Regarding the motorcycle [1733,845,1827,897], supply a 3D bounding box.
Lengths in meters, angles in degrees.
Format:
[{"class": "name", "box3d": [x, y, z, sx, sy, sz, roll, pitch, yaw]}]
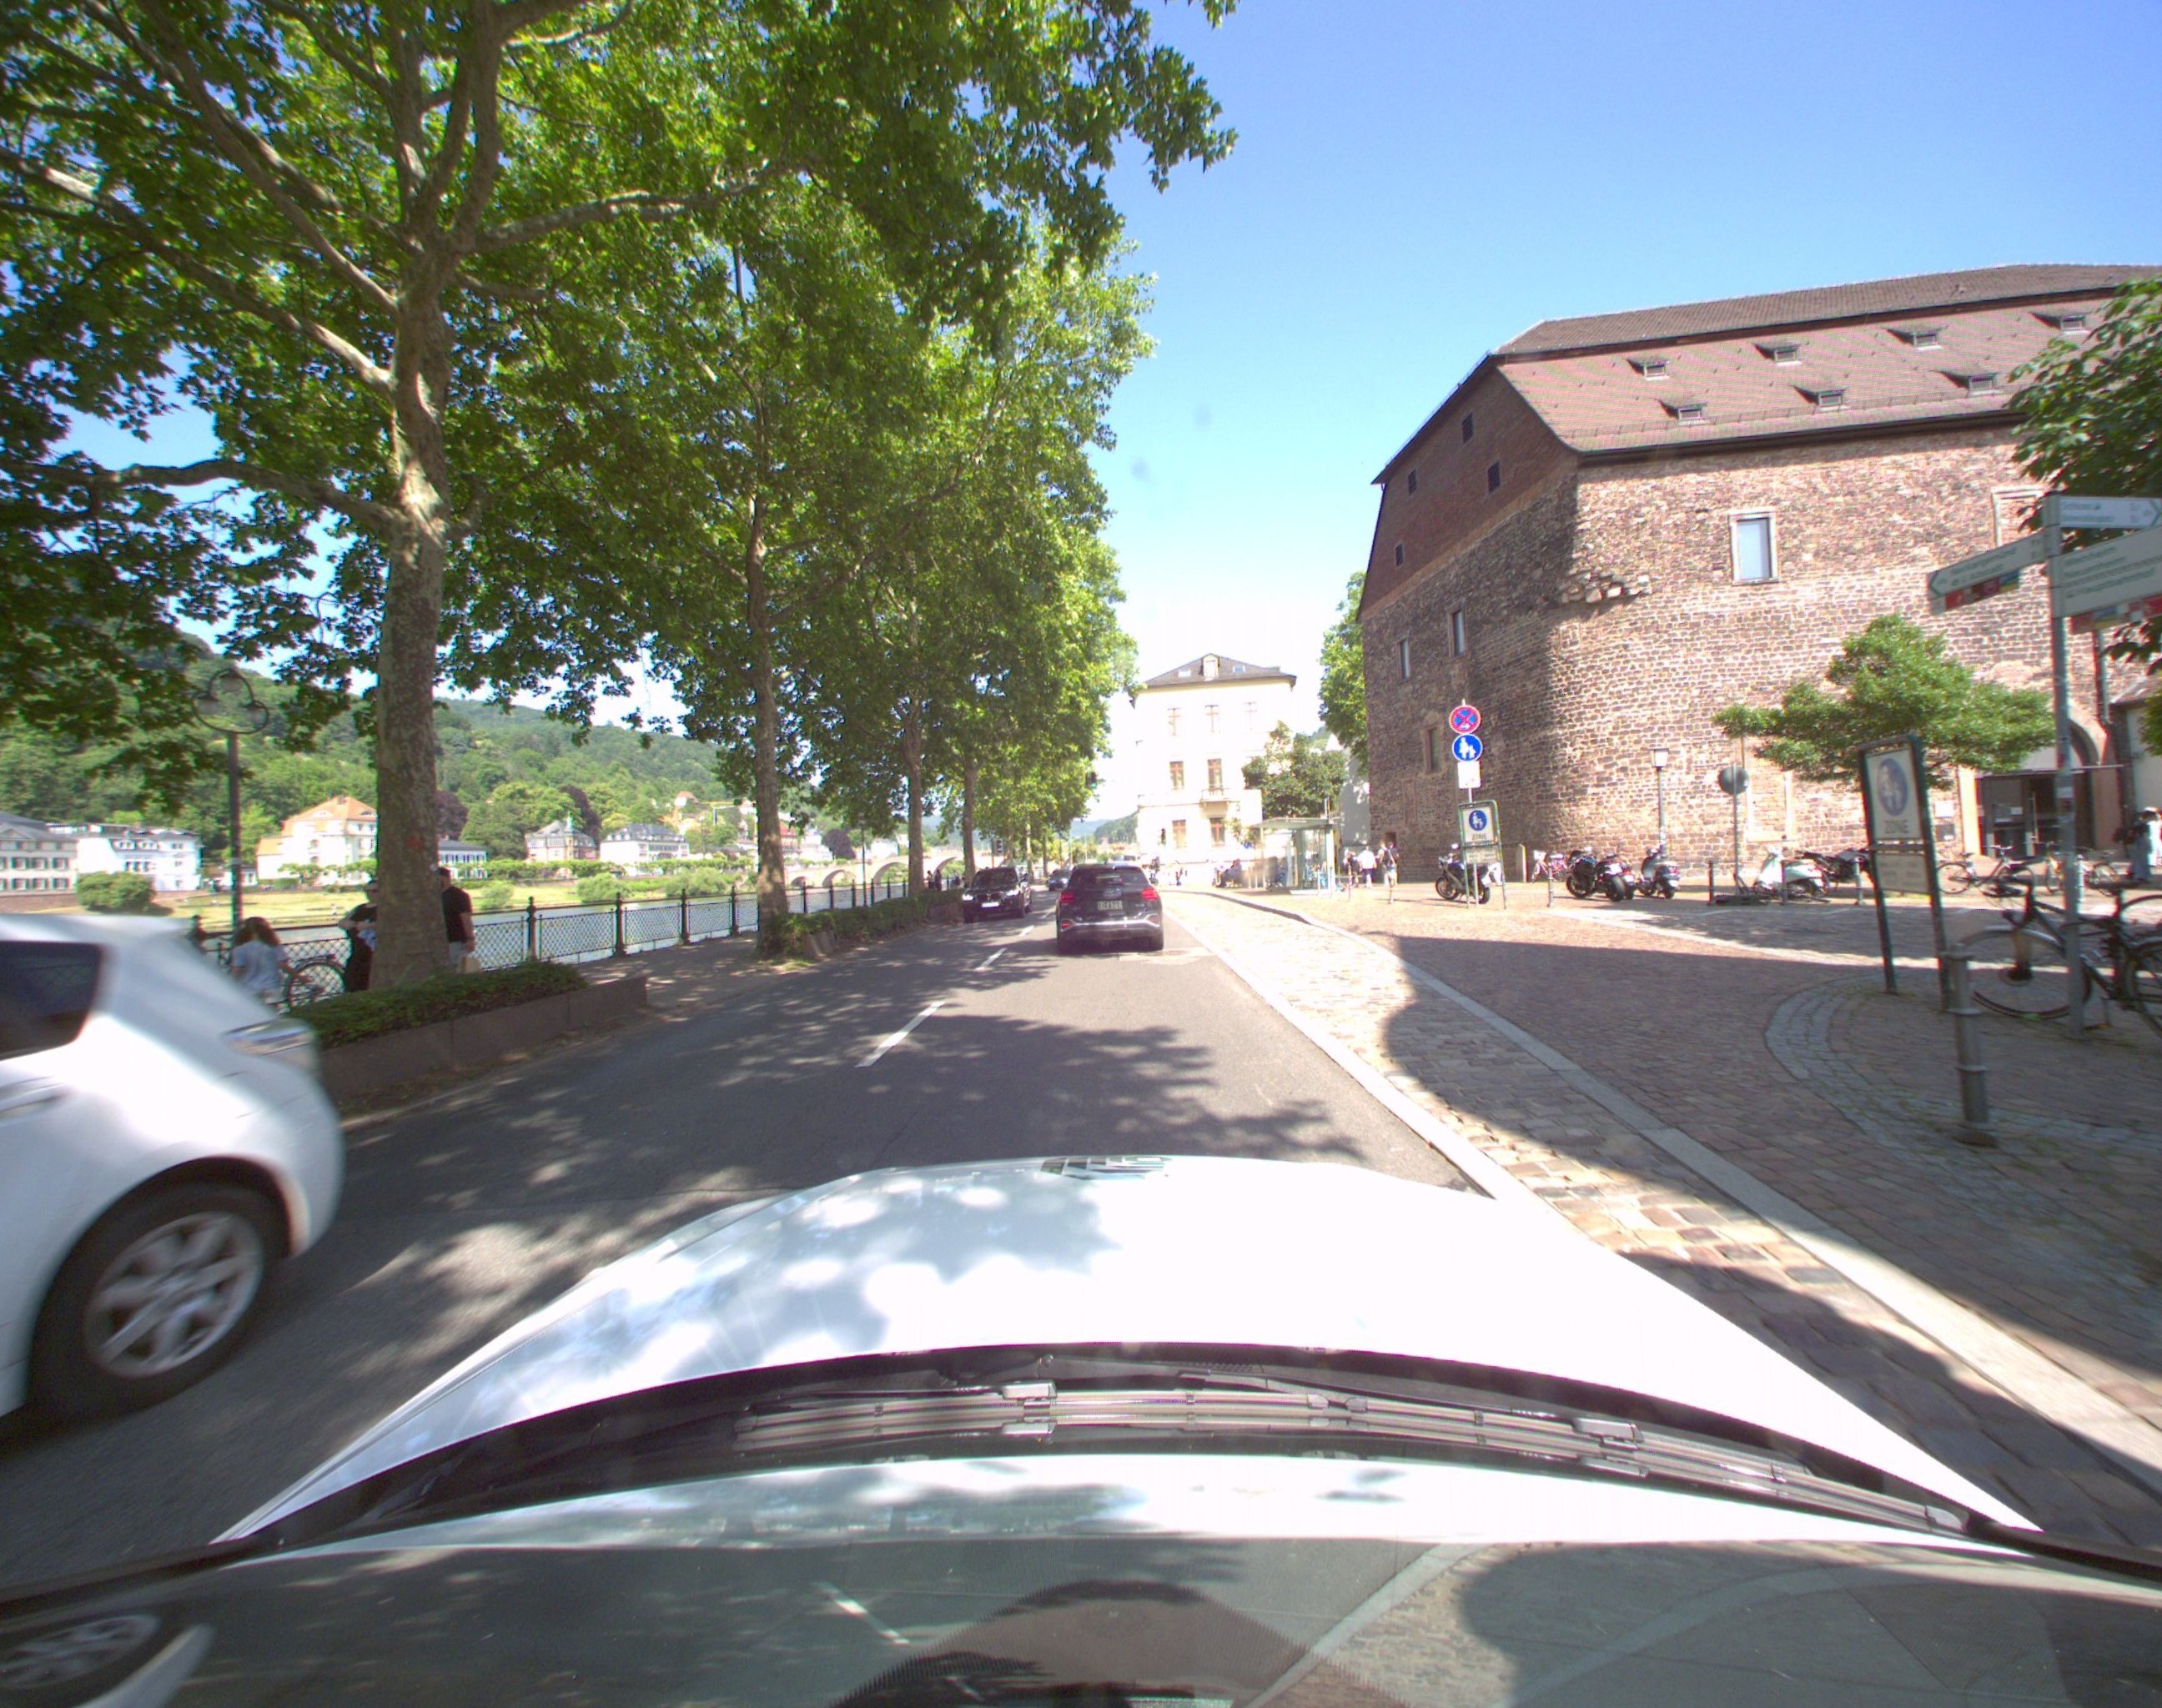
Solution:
[{"class": "motorcycle", "box3d": [15.217, 0.370, 17.798, 0.505, 1.073, 1.841, -1, -1, 2]}]

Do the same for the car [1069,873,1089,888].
[{"class": "car", "box3d": [-0.186, 2.906, 90.424, 1.985, 1.626, 4.003, -1, -1, 3]}]

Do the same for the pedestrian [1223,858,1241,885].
[{"class": "pedestrian", "box3d": [6.807, 0.774, 36.809, 0.662, 1.212, 0.640, 0, -2, -4]}]

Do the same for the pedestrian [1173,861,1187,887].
[{"class": "pedestrian", "box3d": [5.683, 1.138, 46.637, 0.691, 1.500, 0.513, 0, -2, -2]}]

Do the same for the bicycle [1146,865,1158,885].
[{"class": "bicycle", "box3d": [3.944, 1.186, 45.144, 0.436, 1.086, 1.675, 0, -1, -2]}]

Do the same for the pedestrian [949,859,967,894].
[{"class": "pedestrian", "box3d": [-7.076, 1.276, 46.938, 0.906, 2.014, 0.587, -1, -2, 6]}]

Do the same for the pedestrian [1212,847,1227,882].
[{"class": "pedestrian", "box3d": [7.979, 0.609, 46.946, 0.632, 2.014, 0.670, -1, -2, 31]}]

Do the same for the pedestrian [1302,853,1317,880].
[{"class": "pedestrian", "box3d": [17.482, 0.976, 62.302, 0.941, 2.014, 0.808, -1, -2, 2]}]

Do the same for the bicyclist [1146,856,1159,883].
[{"class": "bicyclist", "box3d": [3.961, 0.851, 45.185, 0.604, 1.450, 0.590, 0, -2, -3]}]

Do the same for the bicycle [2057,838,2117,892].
[{"class": "bicycle", "box3d": [21.082, 0.226, 17.089, 0.356, 1.085, 1.390, -2, -1, 33]}]

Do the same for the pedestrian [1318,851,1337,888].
[{"class": "pedestrian", "box3d": [9.368, 0.581, 30.978, 0.555, 1.385, 0.588, -1, -2, 4]}]

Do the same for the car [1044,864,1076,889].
[{"class": "car", "box3d": [-1.514, 1.628, 59.380, 1.985, 1.807, 4.003, -1, -1, 3]}]

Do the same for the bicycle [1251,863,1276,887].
[{"class": "bicycle", "box3d": [8.162, 0.936, 36.449, 1.160, 1.070, 0.178, 0, -2, -17]}]

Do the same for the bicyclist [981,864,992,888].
[{"class": "bicyclist", "box3d": [-5.191, 1.186, 44.893, 0.565, 1.311, 0.551, 0, -2, -2]}]

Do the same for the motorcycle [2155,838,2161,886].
[{"class": "motorcycle", "box3d": [23.437, 0.147, 16.776, 0.386, 1.034, 1.611, 0, -1, -5]}]

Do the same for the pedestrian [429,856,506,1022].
[{"class": "pedestrian", "box3d": [-7.169, 0.971, 9.531, 0.532, 1.887, 0.437, -2, -1, 1]}]

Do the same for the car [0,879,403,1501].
[{"class": "car", "box3d": [-3.733, 0.950, 1.247, 1.732, 1.572, 4.093, -6, -1, 2]}]

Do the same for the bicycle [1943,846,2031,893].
[{"class": "bicycle", "box3d": [19.417, 0.332, 17.487, 0.358, 0.966, 1.382, 0, -1, 1]}]

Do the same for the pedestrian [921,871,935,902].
[{"class": "pedestrian", "box3d": [-8.210, 1.734, 43.756, 0.621, 1.619, 0.587, -1, -2, 6]}]

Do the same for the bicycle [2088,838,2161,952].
[{"class": "bicycle", "box3d": [11.265, 0.417, 8.092, 0.444, 1.162, 1.733, -2, 0, 5]}]

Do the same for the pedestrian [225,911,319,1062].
[{"class": "pedestrian", "box3d": [-7.675, 1.235, 7.731, 0.476, 1.363, 0.418, -1, -1, 6]}]

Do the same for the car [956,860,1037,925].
[{"class": "car", "box3d": [-2.673, 1.180, 26.787, 1.806, 1.725, 4.423, -8, -1, 2]}]

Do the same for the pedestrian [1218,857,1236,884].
[{"class": "pedestrian", "box3d": [6.755, 0.768, 37.622, 0.662, 1.231, 0.640, 0, -2, -4]}]

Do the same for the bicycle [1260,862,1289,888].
[{"class": "bicycle", "box3d": [8.521, 0.903, 35.802, 1.306, 1.128, 0.178, 0, -2, -17]}]

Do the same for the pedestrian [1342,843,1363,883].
[{"class": "pedestrian", "box3d": [12.448, 0.411, 37.357, 0.649, 1.802, 0.847, -1, -1, 1]}]

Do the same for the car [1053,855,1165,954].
[{"class": "car", "box3d": [0.512, 0.809, 14.699, 1.736, 1.509, 3.649, -2, 0, 2]}]

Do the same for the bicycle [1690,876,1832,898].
[{"class": "bicycle", "box3d": [13.260, 0.642, 15.956, 1.914, 0.381, 0.921, -2, -2, 16]}]

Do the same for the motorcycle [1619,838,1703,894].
[{"class": "motorcycle", "box3d": [13.436, 0.287, 18.946, 0.544, 1.235, 2.031, -1, -1, 2]}]

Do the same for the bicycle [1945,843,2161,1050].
[{"class": "bicycle", "box3d": [6.510, 0.534, 5.333, 0.192, 1.204, 1.775, -2, 0, 13]}]

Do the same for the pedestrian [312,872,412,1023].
[{"class": "pedestrian", "box3d": [-8.388, 1.066, 9.522, 0.599, 1.685, 0.583, -3, -1, 1]}]

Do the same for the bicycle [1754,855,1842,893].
[{"class": "bicycle", "box3d": [16.373, 0.447, 18.664, 0.352, 0.820, 1.926, 0, 0, 1]}]

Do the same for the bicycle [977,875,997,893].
[{"class": "bicycle", "box3d": [-5.174, 1.650, 44.832, 1.091, 1.006, 0.303, -1, -2, -5]}]

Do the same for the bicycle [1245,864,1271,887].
[{"class": "bicycle", "box3d": [8.110, 0.998, 37.238, 1.205, 1.035, 0.178, 0, -2, -17]}]

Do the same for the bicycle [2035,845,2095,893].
[{"class": "bicycle", "box3d": [20.189, 0.308, 16.724, 0.356, 0.949, 1.390, -2, -2, 33]}]

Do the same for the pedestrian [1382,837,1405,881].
[{"class": "pedestrian", "box3d": [14.320, 0.234, 37.306, 0.727, 2.014, 0.878, 0, -2, 2]}]

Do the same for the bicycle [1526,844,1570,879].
[{"class": "bicycle", "box3d": [16.610, 0.288, 29.007, 0.388, 1.209, 1.715, 0, -1, -6]}]

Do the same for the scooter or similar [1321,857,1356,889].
[{"class": "scooter or similar", "box3d": [8.753, 0.636, 27.694, 1.085, 1.066, 0.323, 0, -2, 0]}]

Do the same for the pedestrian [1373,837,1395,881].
[{"class": "pedestrian", "box3d": [13.550, 0.223, 36.430, 0.666, 1.920, 0.821, 0, -2, 1]}]

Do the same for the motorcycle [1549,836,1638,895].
[{"class": "motorcycle", "box3d": [11.648, 0.274, 18.604, 0.653, 1.266, 2.201, -2, -1, 2]}]

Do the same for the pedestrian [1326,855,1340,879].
[{"class": "pedestrian", "box3d": [21.101, 1.096, 68.310, 0.936, 2.014, 0.808, -1, -2, 2]}]

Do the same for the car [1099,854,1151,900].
[{"class": "car", "box3d": [1.601, 0.835, 30.067, 1.786, 1.595, 3.400, 0, -1, 2]}]

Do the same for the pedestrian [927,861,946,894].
[{"class": "pedestrian", "box3d": [-7.969, 1.276, 44.933, 0.906, 1.811, 0.586, -1, -2, 6]}]

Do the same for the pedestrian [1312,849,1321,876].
[{"class": "pedestrian", "box3d": [14.495, 0.519, 50.122, 0.447, 1.681, 0.467, -1, -2, 5]}]

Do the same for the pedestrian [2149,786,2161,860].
[{"class": "pedestrian", "box3d": [29.899, -0.849, 22.291, 0.557, 2.014, 0.655, -1, -2, 30]}]

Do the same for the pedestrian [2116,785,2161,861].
[{"class": "pedestrian", "box3d": [28.946, -0.827, 22.228, 0.738, 2.014, 0.793, 1, -2, -39]}]

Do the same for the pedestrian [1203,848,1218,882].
[{"class": "pedestrian", "box3d": [7.556, 0.645, 47.665, 0.632, 2.014, 0.670, -1, -2, 31]}]

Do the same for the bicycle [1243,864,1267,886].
[{"class": "bicycle", "box3d": [8.107, 0.997, 37.941, 1.187, 1.016, 0.178, 0, -2, -17]}]

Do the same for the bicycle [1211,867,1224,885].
[{"class": "bicycle", "box3d": [7.414, 1.202, 44.296, 0.299, 0.964, 1.183, 0, -2, -11]}]

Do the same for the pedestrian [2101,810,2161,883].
[{"class": "pedestrian", "box3d": [24.778, -0.176, 19.102, 0.799, 1.662, 0.660, -3, -1, 26]}]

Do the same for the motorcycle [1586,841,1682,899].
[{"class": "motorcycle", "box3d": [12.537, 0.375, 18.557, 0.672, 1.235, 2.313, -1, -1, 2]}]

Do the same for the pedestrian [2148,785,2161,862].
[{"class": "pedestrian", "box3d": [28.665, -0.794, 21.214, 0.691, 2.014, 0.769, 0, -2, -11]}]

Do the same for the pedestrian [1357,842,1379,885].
[{"class": "pedestrian", "box3d": [12.634, 0.424, 35.917, 0.666, 1.884, 0.821, 0, -2, 1]}]

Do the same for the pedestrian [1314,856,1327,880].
[{"class": "pedestrian", "box3d": [20.077, 1.182, 68.218, 0.836, 2.014, 0.738, -1, -2, 2]}]

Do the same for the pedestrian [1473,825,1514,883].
[{"class": "pedestrian", "box3d": [14.410, 0.009, 28.449, 0.833, 1.949, 0.906, -2, -1, -36]}]

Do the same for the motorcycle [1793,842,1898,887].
[{"class": "motorcycle", "box3d": [18.282, 0.259, 19.508, 1.854, 1.054, 0.481, -1, -2, 10]}]

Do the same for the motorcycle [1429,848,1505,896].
[{"class": "motorcycle", "box3d": [8.796, 0.400, 18.678, 0.564, 1.012, 2.490, -2, -1, 1]}]
